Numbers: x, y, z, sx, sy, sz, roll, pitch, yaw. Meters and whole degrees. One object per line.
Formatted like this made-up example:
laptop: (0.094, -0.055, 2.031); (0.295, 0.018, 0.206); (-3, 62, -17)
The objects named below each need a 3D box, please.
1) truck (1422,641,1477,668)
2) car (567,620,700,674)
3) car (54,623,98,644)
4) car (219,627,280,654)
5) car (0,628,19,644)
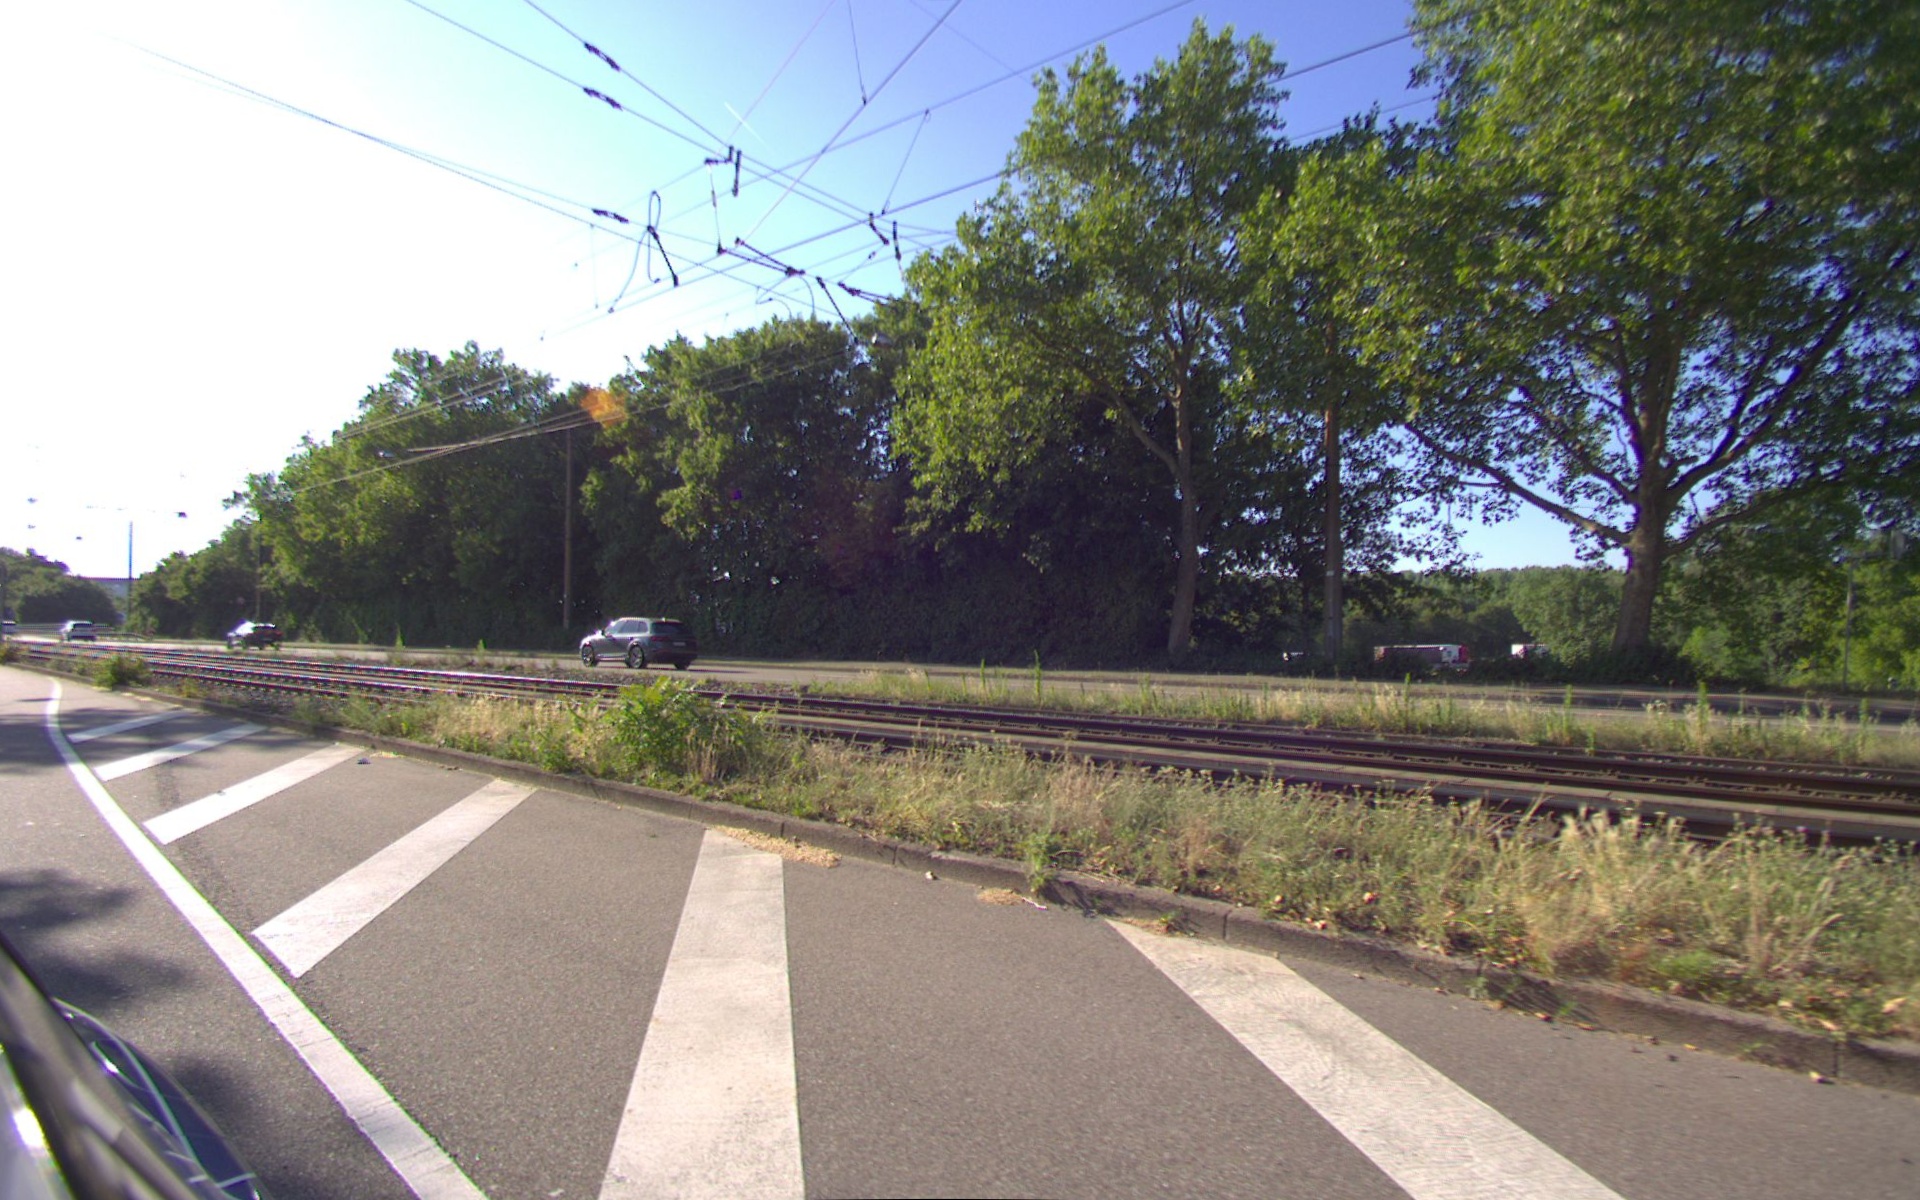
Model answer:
truck: (48.790, 5.412, 100.930); (4.944, 2.540, 2.072); (0, -1, -20)
car: (-11.170, 1.582, 34.472); (4.935, 1.707, 1.880); (-1, -4, 39)
car: (-77.464, 2.922, 88.648); (4.938, 1.720, 1.943); (-1, -4, 38)
car: (-41.256, 2.337, 58.737); (4.342, 1.479, 1.694); (-1, -4, 39)
car: (-111.406, 4.188, 117.933); (4.926, 1.747, 1.828); (-1, -4, 39)
